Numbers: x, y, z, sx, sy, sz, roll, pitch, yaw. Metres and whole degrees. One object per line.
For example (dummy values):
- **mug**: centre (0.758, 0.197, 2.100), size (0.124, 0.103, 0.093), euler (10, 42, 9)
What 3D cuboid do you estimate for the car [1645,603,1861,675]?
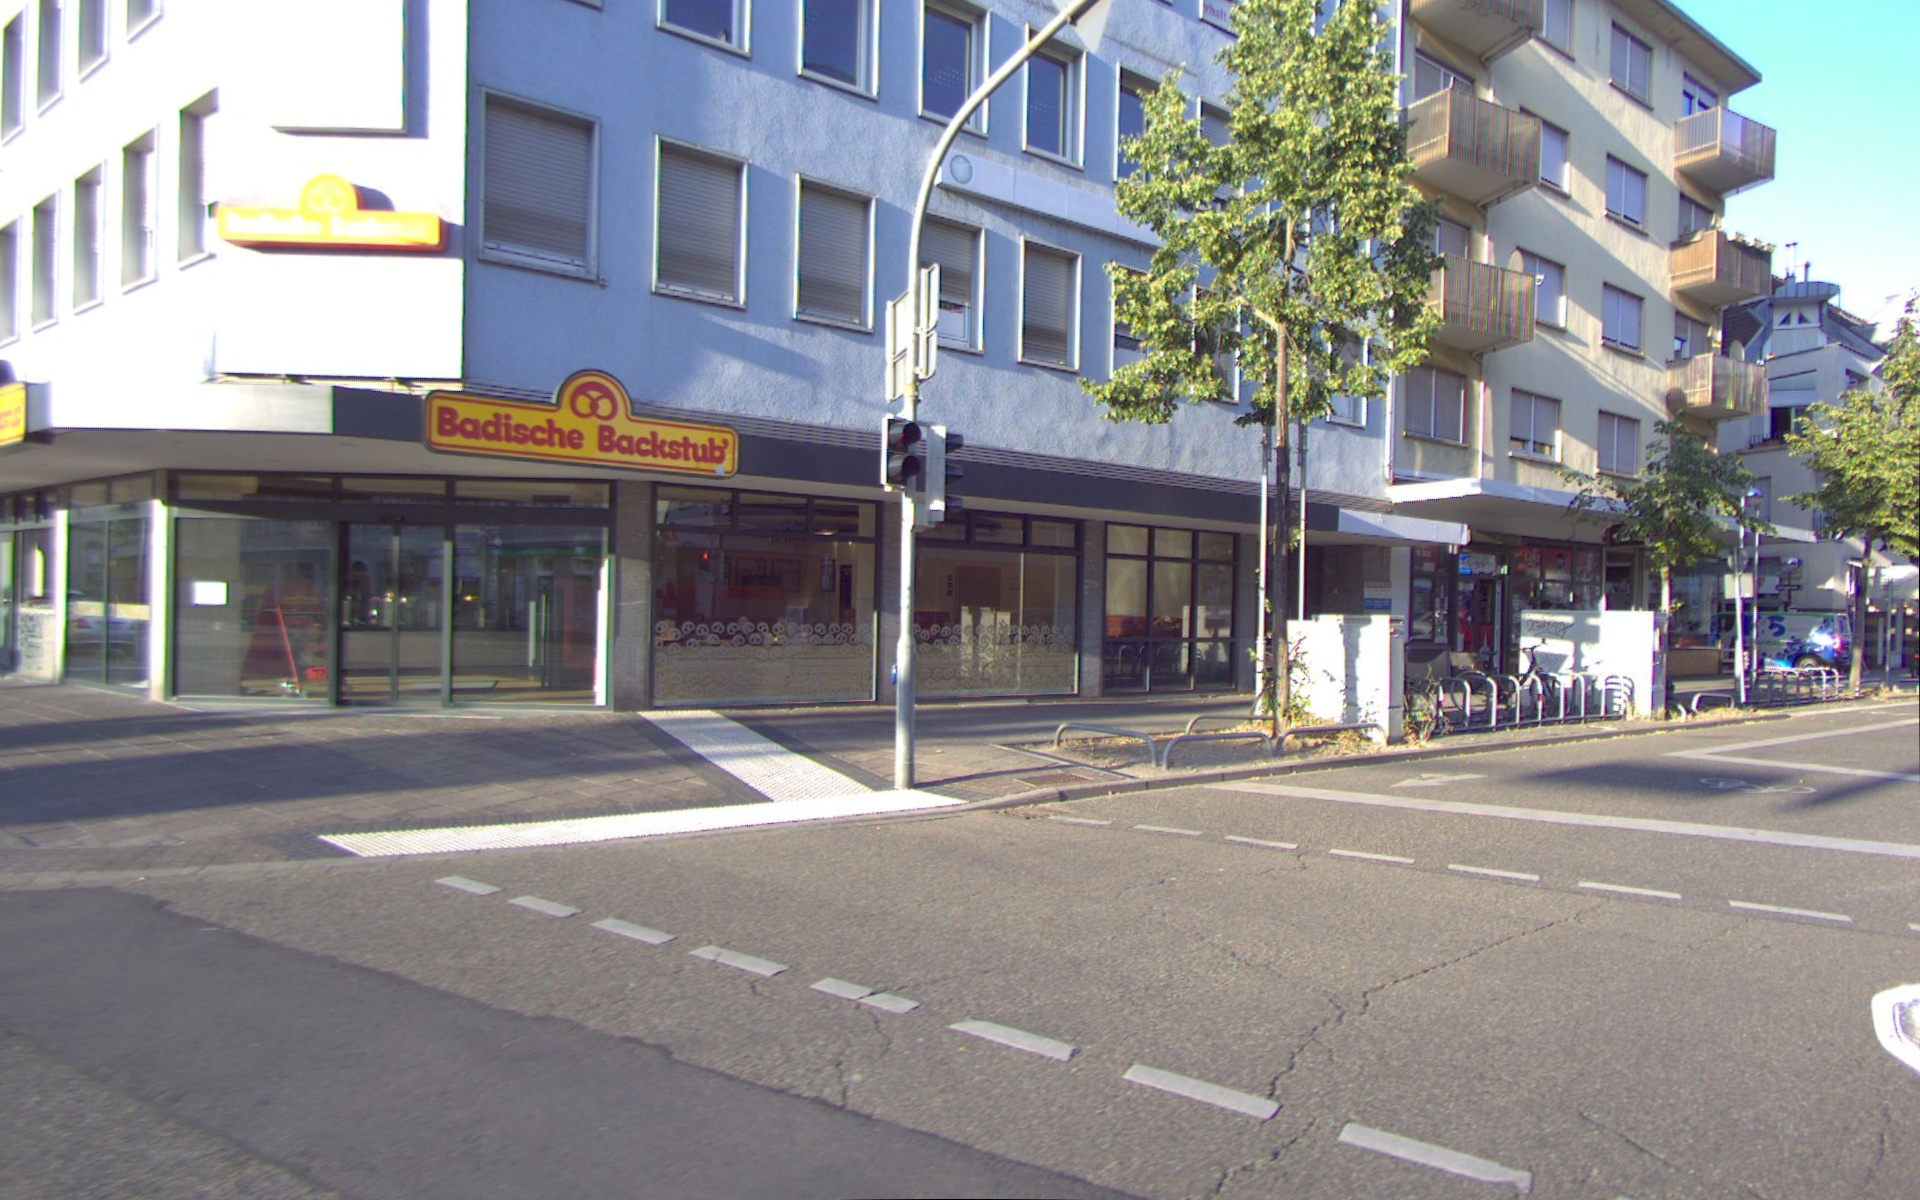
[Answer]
- **car**: centre (24.209, 1.134, 30.828), size (1.983, 1.852, 4.826), euler (2, 1, -38)

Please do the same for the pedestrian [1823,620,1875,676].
- **pedestrian**: centre (27.709, 1.478, 31.305), size (0.980, 1.699, 0.901), euler (0, 1, -26)

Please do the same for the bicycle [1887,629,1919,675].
- **bicycle**: centre (29.224, 1.591, 30.437), size (3.096, 1.318, 0.952), euler (2, 1, -35)

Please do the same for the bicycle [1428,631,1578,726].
- **bicycle**: centre (8.235, 1.160, 15.343), size (0.486, 1.235, 1.998), euler (2, 1, -32)

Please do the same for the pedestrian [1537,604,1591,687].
- **pedestrian**: centre (13.762, 1.017, 22.890), size (0.804, 1.843, 0.737), euler (0, 0, -30)

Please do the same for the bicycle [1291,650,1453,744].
- **bicycle**: centre (5.401, 1.243, 13.310), size (0.486, 1.005, 1.995), euler (2, 1, -36)

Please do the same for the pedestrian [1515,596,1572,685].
- **pedestrian**: centre (12.554, 0.852, 21.628), size (0.732, 1.872, 0.766), euler (0, 1, -23)
